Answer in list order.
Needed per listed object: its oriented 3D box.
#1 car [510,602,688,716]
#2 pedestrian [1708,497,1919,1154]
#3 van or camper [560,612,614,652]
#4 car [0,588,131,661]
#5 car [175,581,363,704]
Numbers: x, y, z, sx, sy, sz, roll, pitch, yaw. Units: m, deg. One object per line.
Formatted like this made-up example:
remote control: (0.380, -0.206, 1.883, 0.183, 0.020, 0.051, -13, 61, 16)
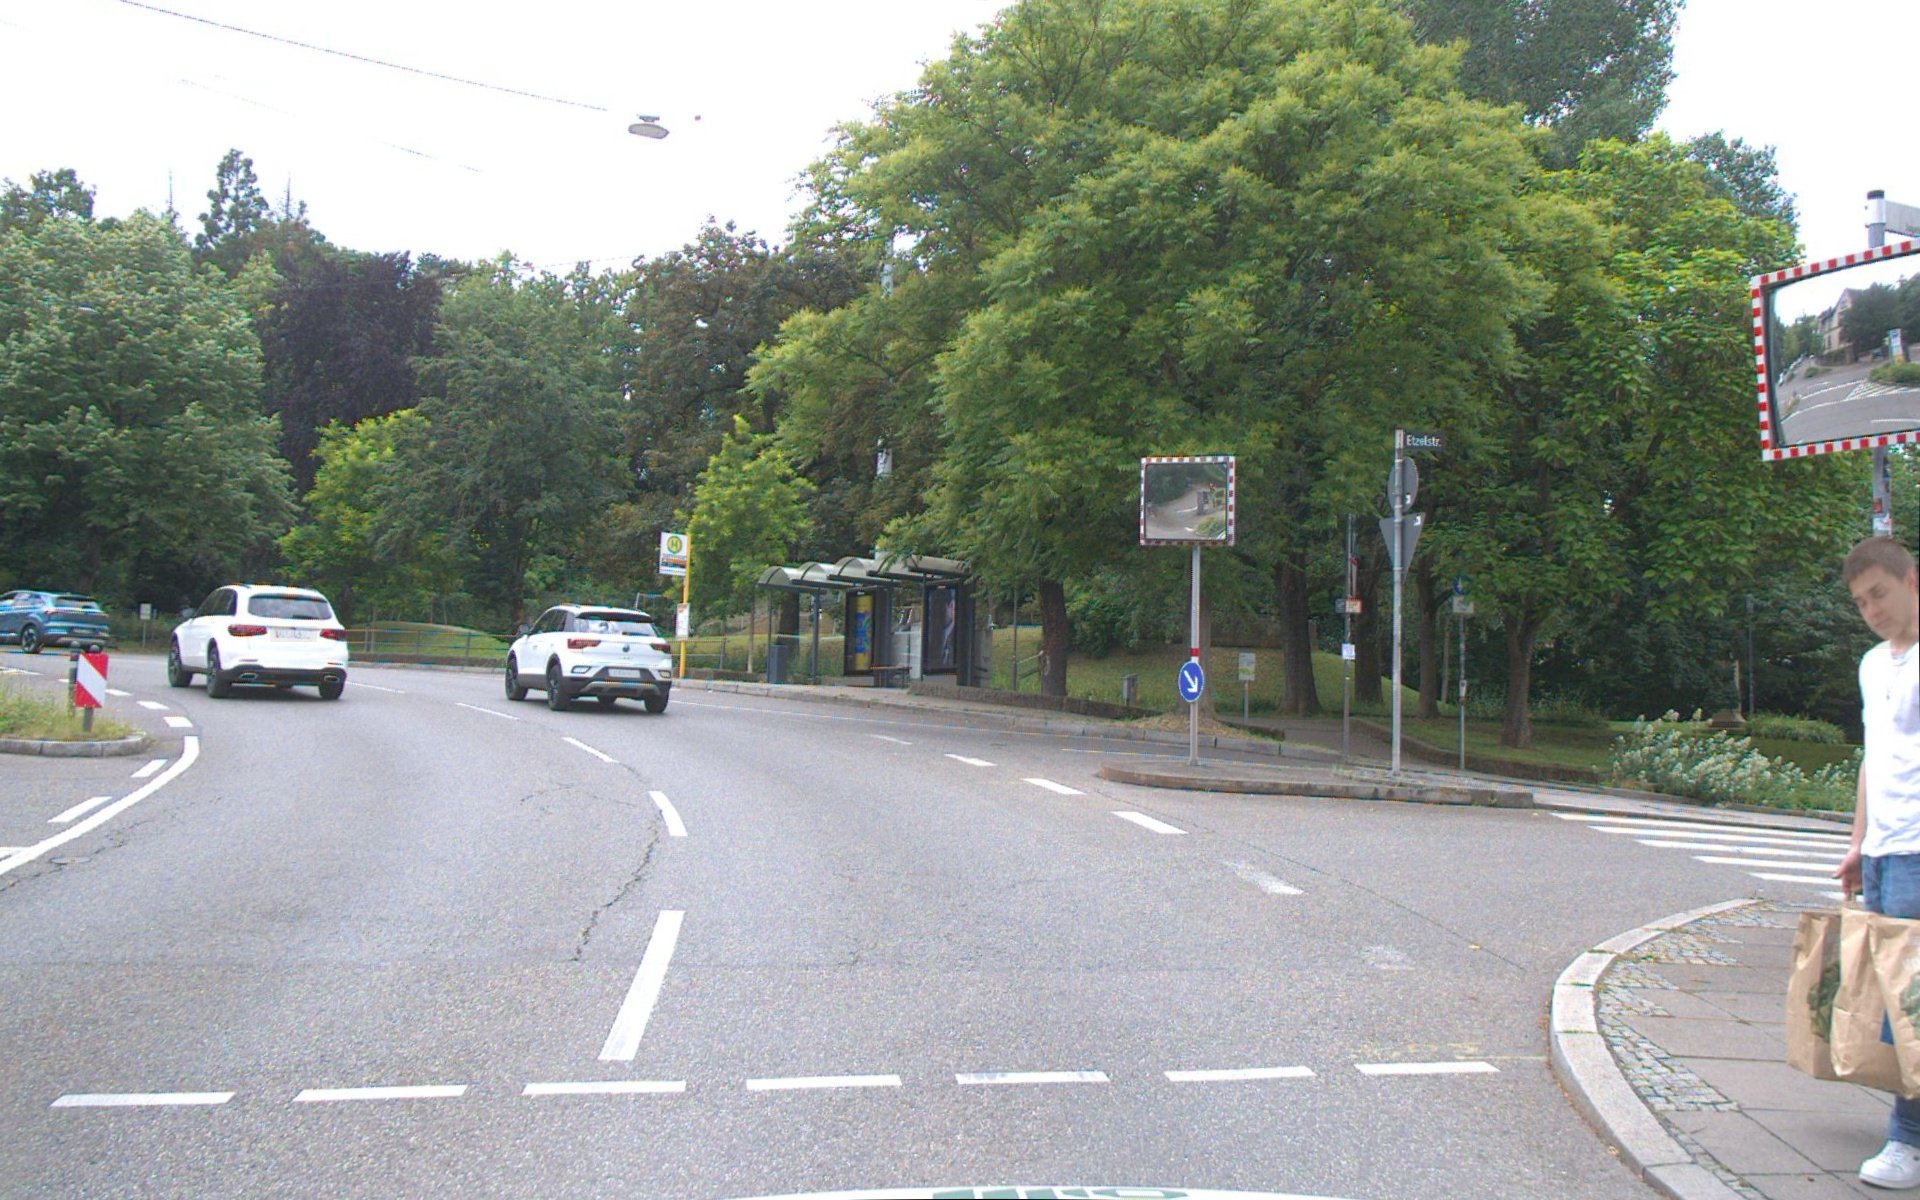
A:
car: (-5.730, 0.881, 25.911, 1.842, 1.583, 3.862, 3, -1, -26)
pedestrian: (2.618, 0.602, 4.760, 0.602, 1.742, 0.727, 0, -1, 3)
van or camper: (-20.848, 1.784, 92.270, 2.269, 2.049, 5.411, 4, -2, -19)
car: (-23.120, 0.599, 42.209, 3.880, 1.660, 1.859, 2, -2, 36)
car: (-10.750, 0.606, 25.551, 1.860, 1.681, 4.291, 3, -1, -33)
